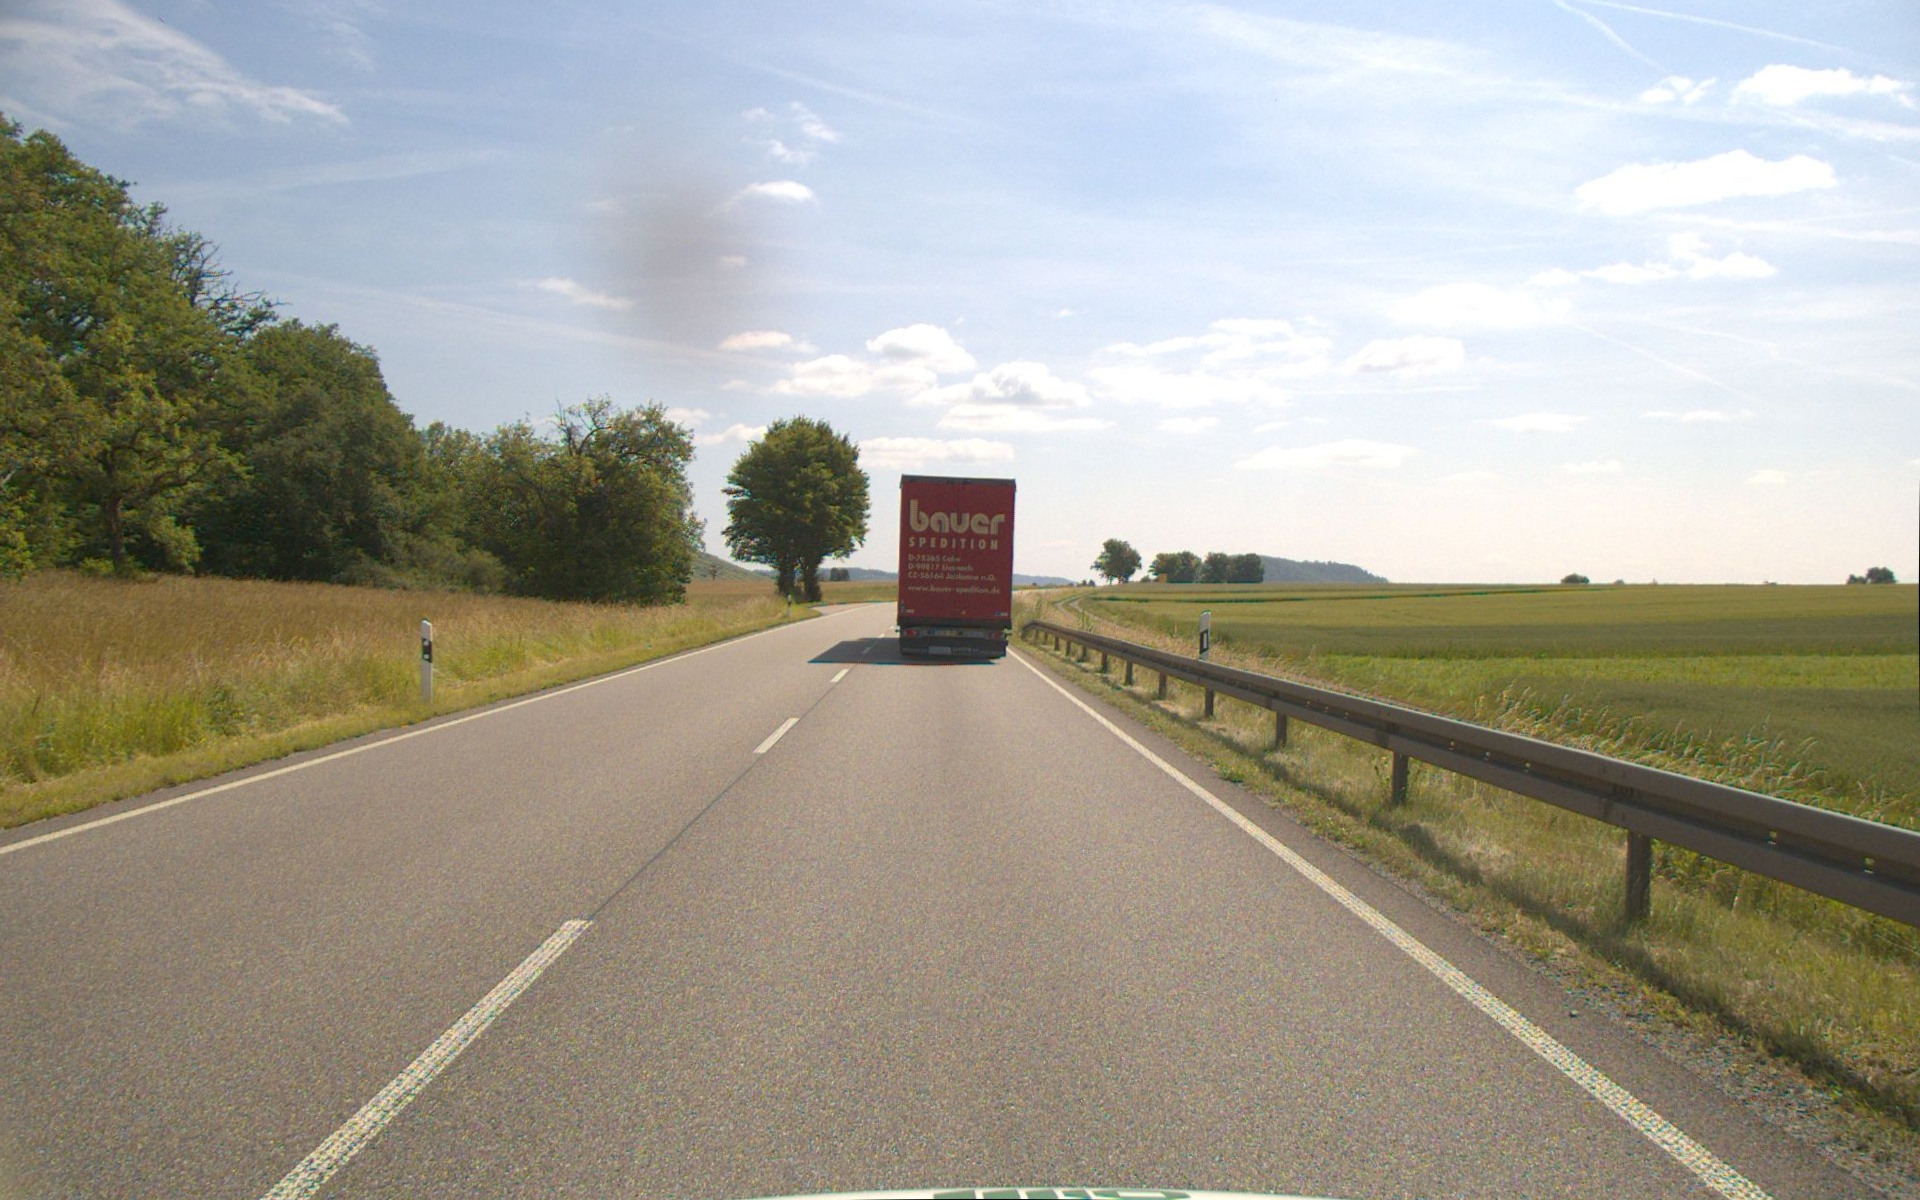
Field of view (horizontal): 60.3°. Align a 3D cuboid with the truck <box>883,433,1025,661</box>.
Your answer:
[{"bbox_3d":[-0.292,-1.106,40.099,2.915,4.796,9.361,2,-1,-2],"label":"truck"}]
